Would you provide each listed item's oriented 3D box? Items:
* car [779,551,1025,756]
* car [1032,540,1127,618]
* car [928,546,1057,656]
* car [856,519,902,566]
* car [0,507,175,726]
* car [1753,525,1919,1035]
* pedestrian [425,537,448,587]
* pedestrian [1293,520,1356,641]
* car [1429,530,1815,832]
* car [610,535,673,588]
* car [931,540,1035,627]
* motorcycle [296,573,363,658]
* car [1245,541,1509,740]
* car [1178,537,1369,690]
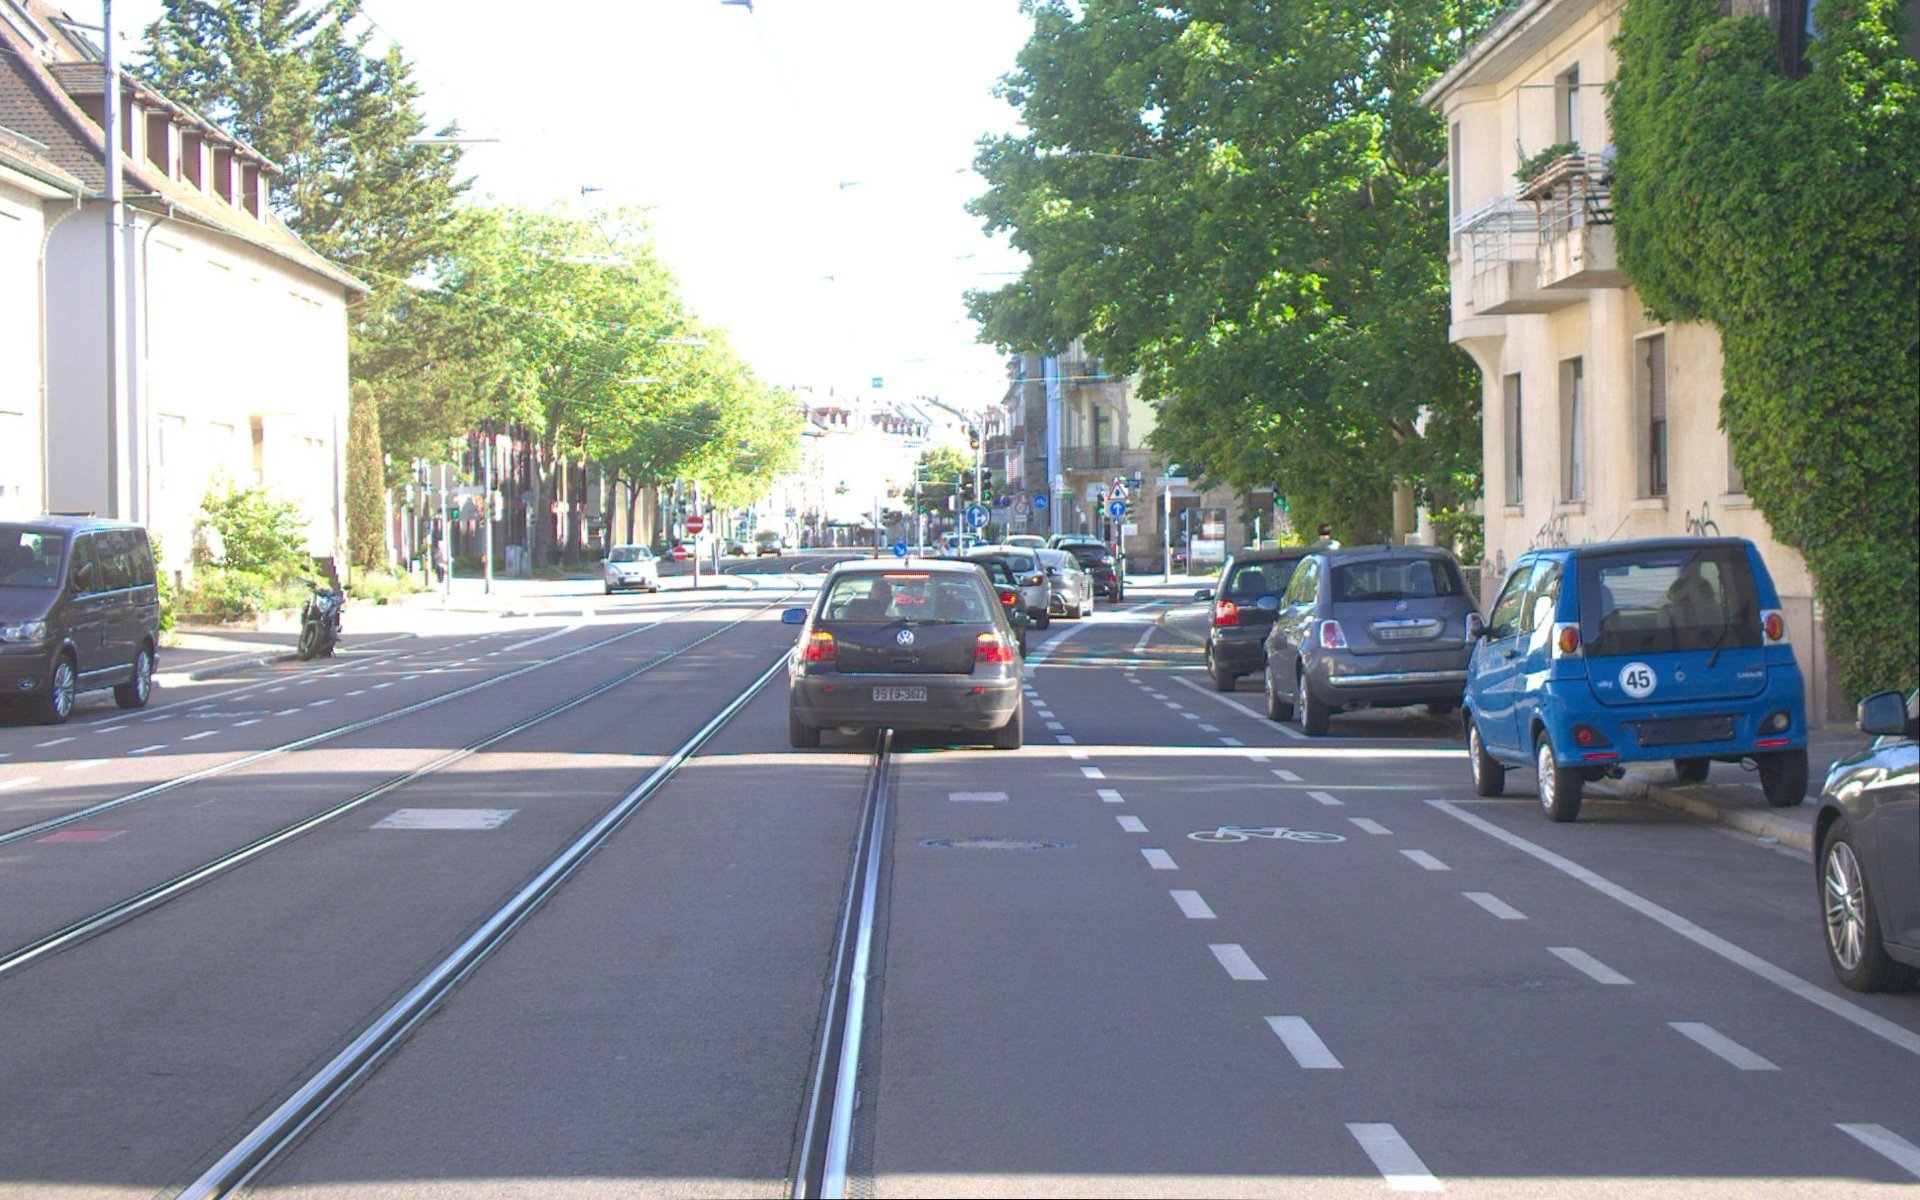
[{"bbox_3d":[-0.429,0.348,26.270,1.716,1.398,4.006,1,1,-1],"label":"car"},{"bbox_3d":[2.346,-0.438,68.236,1.569,1.306,3.648,-1,4,-3],"label":"car"},{"bbox_3d":[0.416,-0.017,45.859,1.634,1.367,3.757,-1,1,0],"label":"car"},{"bbox_3d":[-3.363,-2.396,142.827,1.787,1.853,4.001,2,1,-2],"label":"car"},{"bbox_3d":[-9.333,0.084,34.094,1.906,2.007,4.949,1,1,0],"label":"car"},{"bbox_3d":[3.896,0.584,10.430,1.744,1.593,4.434,1,1,-3],"label":"car"},{"bbox_3d":[-18.028,-1.301,118.288,0.609,1.684,0.734,2,1,-19],"label":"pedestrian"},{"bbox_3d":[5.145,-0.280,48.559,0.717,1.682,0.870,-2,1,-2],"label":"pedestrian"},{"bbox_3d":[3.781,0.405,20.100,1.457,1.593,3.294,1,1,-3],"label":"car"},{"bbox_3d":[-9.331,-1.143,100.961,1.575,1.472,3.441,-1,1,-2],"label":"car"},{"bbox_3d":[0.370,-0.317,60.207,1.740,1.436,3.810,-1,1,-1],"label":"car"},{"bbox_3d":[-9.126,0.206,49.804,0.536,1.158,2.172,-2,1,0],"label":"motorcycle"},{"bbox_3d":[3.421,0.289,28.781,1.601,1.520,3.550,1,1,-3],"label":"car"},{"bbox_3d":[3.350,0.114,37.283,1.665,1.558,3.771,1,1,-1],"label":"car"}]
